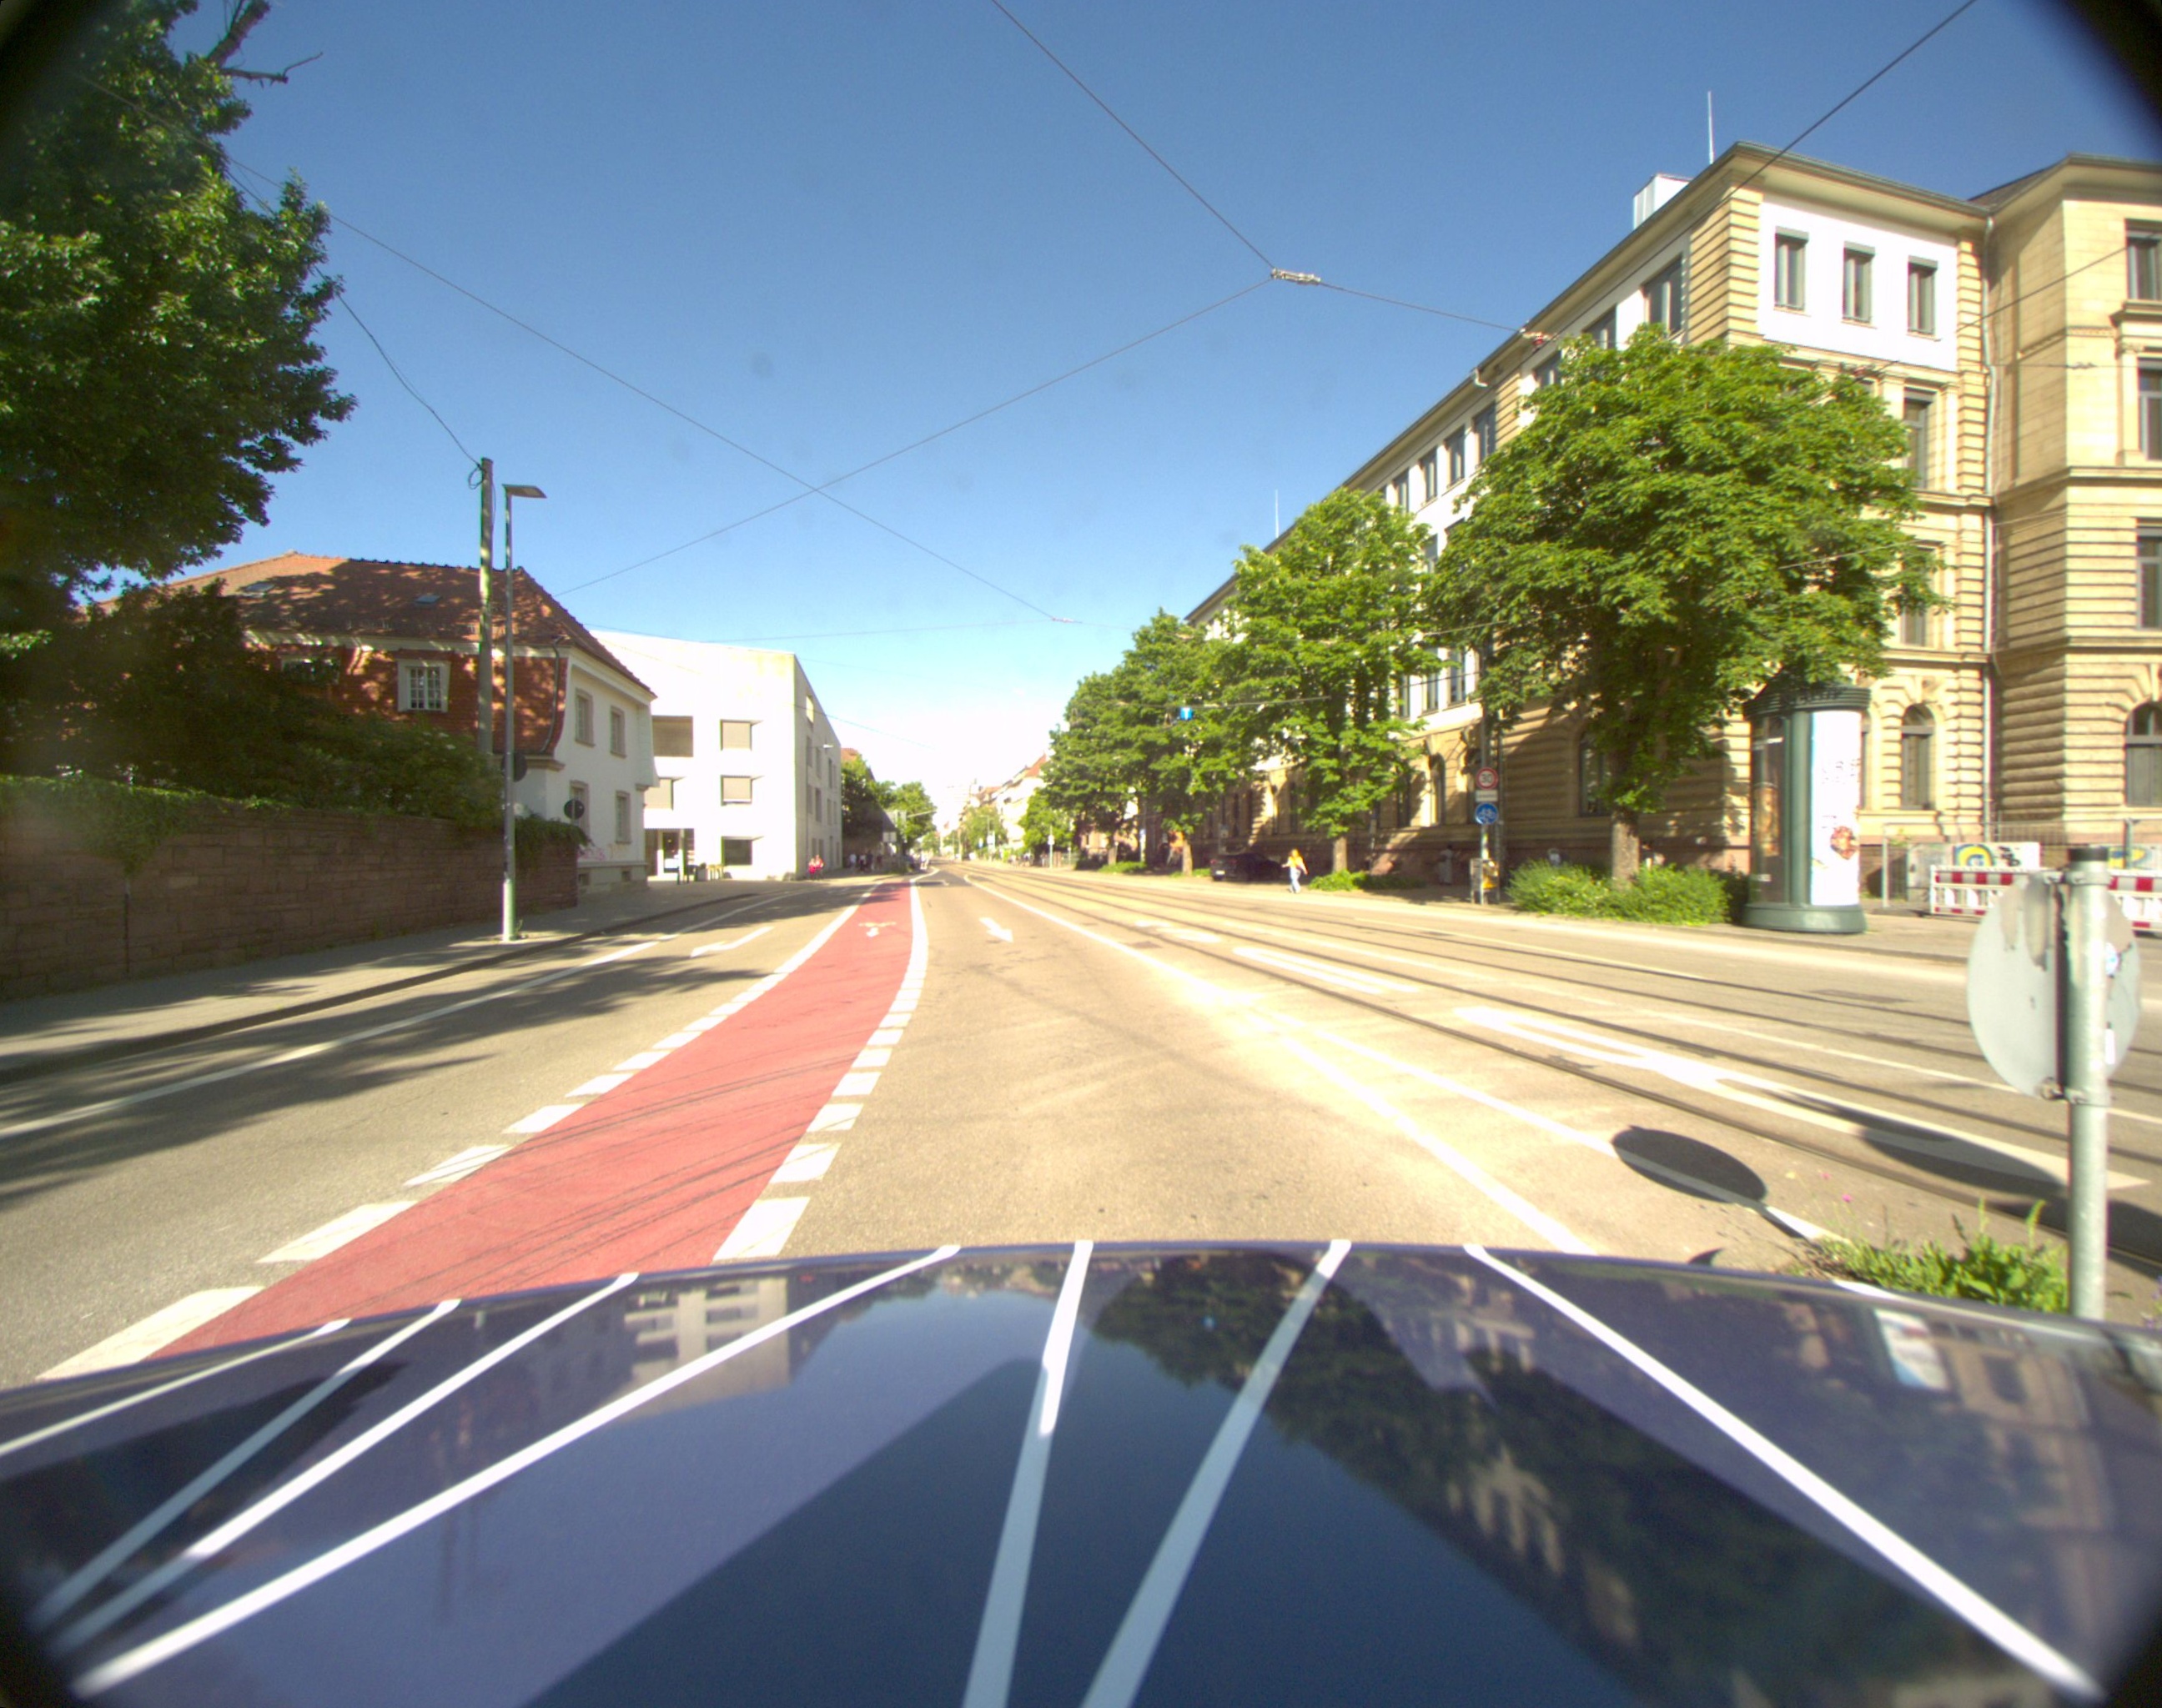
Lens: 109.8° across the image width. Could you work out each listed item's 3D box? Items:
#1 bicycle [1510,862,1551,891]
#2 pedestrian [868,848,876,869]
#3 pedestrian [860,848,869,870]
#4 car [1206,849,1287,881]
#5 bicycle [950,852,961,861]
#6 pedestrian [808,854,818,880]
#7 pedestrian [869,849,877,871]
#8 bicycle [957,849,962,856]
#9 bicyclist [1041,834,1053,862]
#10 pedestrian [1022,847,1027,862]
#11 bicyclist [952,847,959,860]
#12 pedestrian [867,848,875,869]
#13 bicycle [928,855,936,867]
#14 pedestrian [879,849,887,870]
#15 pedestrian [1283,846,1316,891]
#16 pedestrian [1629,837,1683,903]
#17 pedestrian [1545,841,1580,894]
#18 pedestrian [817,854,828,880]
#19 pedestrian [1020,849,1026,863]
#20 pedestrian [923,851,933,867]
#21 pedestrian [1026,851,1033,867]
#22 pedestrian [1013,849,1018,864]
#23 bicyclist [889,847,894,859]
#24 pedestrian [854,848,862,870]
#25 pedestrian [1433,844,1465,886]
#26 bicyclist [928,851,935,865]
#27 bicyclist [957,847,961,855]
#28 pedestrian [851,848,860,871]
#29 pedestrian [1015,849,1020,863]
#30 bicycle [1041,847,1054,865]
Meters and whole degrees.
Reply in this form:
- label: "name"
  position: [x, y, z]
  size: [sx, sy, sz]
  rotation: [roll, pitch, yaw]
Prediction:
- label: "bicycle"
  position: [15.249, 0.738, 25.820]
  size: [0.398, 0.898, 1.359]
  rotation: [-2, 2, -10]
- label: "pedestrian"
  position: [-17.951, 0.388, 65.209]
  size: [0.588, 1.795, 0.545]
  rotation: [-1, 1, -13]
- label: "pedestrian"
  position: [-17.593, 0.421, 61.731]
  size: [0.588, 1.795, 0.545]
  rotation: [-1, 1, -13]
- label: "car"
  position: [8.616, 0.540, 39.428]
  size: [4.118, 1.565, 1.916]
  rotation: [-1, 1, -39]
- label: "bicycle"
  position: [-23.185, 0.484, 140.434]
  size: [1.005, 1.672, 2.977]
  rotation: [-3, 2, -29]
- label: "pedestrian"
  position: [-16.400, 0.783, 46.515]
  size: [0.535, 1.557, 0.519]
  rotation: [-1, 1, -13]
- label: "pedestrian"
  position: [-16.942, 0.461, 61.865]
  size: [0.588, 1.795, 0.519]
  rotation: [-1, 1, -13]
- label: "bicycle"
  position: [-29.074, -0.338, 181.325]
  size: [1.004, 1.672, 2.981]
  rotation: [-2, 2, -12]
- label: "bicyclist"
  position: [-3.730, -0.651, 83.396]
  size: [1.003, 2.959, 1.474]
  rotation: [-1, 2, 4]
- label: "pedestrian"
  position: [-6.986, 0.074, 94.214]
  size: [0.579, 1.845, 0.653]
  rotation: [-1, 1, -11]
- label: "bicyclist"
  position: [-23.224, -0.060, 140.503]
  size: [1.005, 2.255, 1.018]
  rotation: [-3, 2, -29]
- label: "pedestrian"
  position: [-17.699, 0.390, 63.911]
  size: [0.588, 1.795, 0.582]
  rotation: [-1, 1, -13]
- label: "bicycle"
  position: [-15.587, 0.728, 79.478]
  size: [0.665, 1.146, 1.670]
  rotation: [-2, 2, -8]
- label: "pedestrian"
  position: [-16.175, 0.443, 62.090]
  size: [0.588, 1.717, 0.519]
  rotation: [-1, 1, -13]
- label: "pedestrian"
  position: [8.191, 0.567, 28.549]
  size: [0.772, 1.658, 1.033]
  rotation: [1, -3, -14]
- label: "pedestrian"
  position: [15.095, 0.408, 19.950]
  size: [0.731, 1.660, 0.844]
  rotation: [-2, 4, -25]
- label: "pedestrian"
  position: [14.278, 0.402, 22.555]
  size: [0.579, 1.553, 0.653]
  rotation: [-1, 1, -12]
- label: "pedestrian"
  position: [-15.768, 0.769, 46.394]
  size: [0.535, 1.557, 0.519]
  rotation: [-1, 1, -13]
- label: "pedestrian"
  position: [-7.472, 0.233, 97.919]
  size: [0.579, 1.845, 0.684]
  rotation: [-1, 1, -11]
- label: "pedestrian"
  position: [-17.148, 0.538, 85.123]
  size: [0.933, 1.728, 0.677]
  rotation: [-1, 1, -31]
- label: "pedestrian"
  position: [-6.205, 0.584, 91.289]
  size: [0.729, 1.845, 0.653]
  rotation: [0, 1, -9]
- label: "pedestrian"
  position: [-8.172, 0.326, 95.125]
  size: [0.579, 1.845, 0.684]
  rotation: [-1, 1, -11]
- label: "bicyclist"
  position: [-35.004, -0.228, 140.431]
  size: [0.813, 2.194, 0.983]
  rotation: [-2, 2, -10]
- label: "pedestrian"
  position: [-18.615, 0.429, 63.405]
  size: [0.588, 1.795, 0.582]
  rotation: [-1, 1, -13]
- label: "pedestrian"
  position: [14.417, 0.412, 29.784]
  size: [0.859, 1.558, 0.671]
  rotation: [-5, 3, -28]
- label: "bicyclist"
  position: [-15.595, 0.414, 79.448]
  size: [0.665, 1.453, 0.622]
  rotation: [-2, 2, -8]
- label: "bicyclist"
  position: [-29.088, -0.734, 181.305]
  size: [1.004, 1.712, 0.983]
  rotation: [-2, 2, -12]
- label: "pedestrian"
  position: [-18.280, 0.444, 61.594]
  size: [0.588, 1.795, 0.545]
  rotation: [-1, 1, -13]
- label: "pedestrian"
  position: [-8.119, 0.256, 97.746]
  size: [0.579, 1.845, 0.684]
  rotation: [-1, 1, -11]
- label: "bicycle"
  position: [-3.683, 0.210, 83.645]
  size: [1.003, 1.876, 3.894]
  rotation: [-1, 2, 4]
